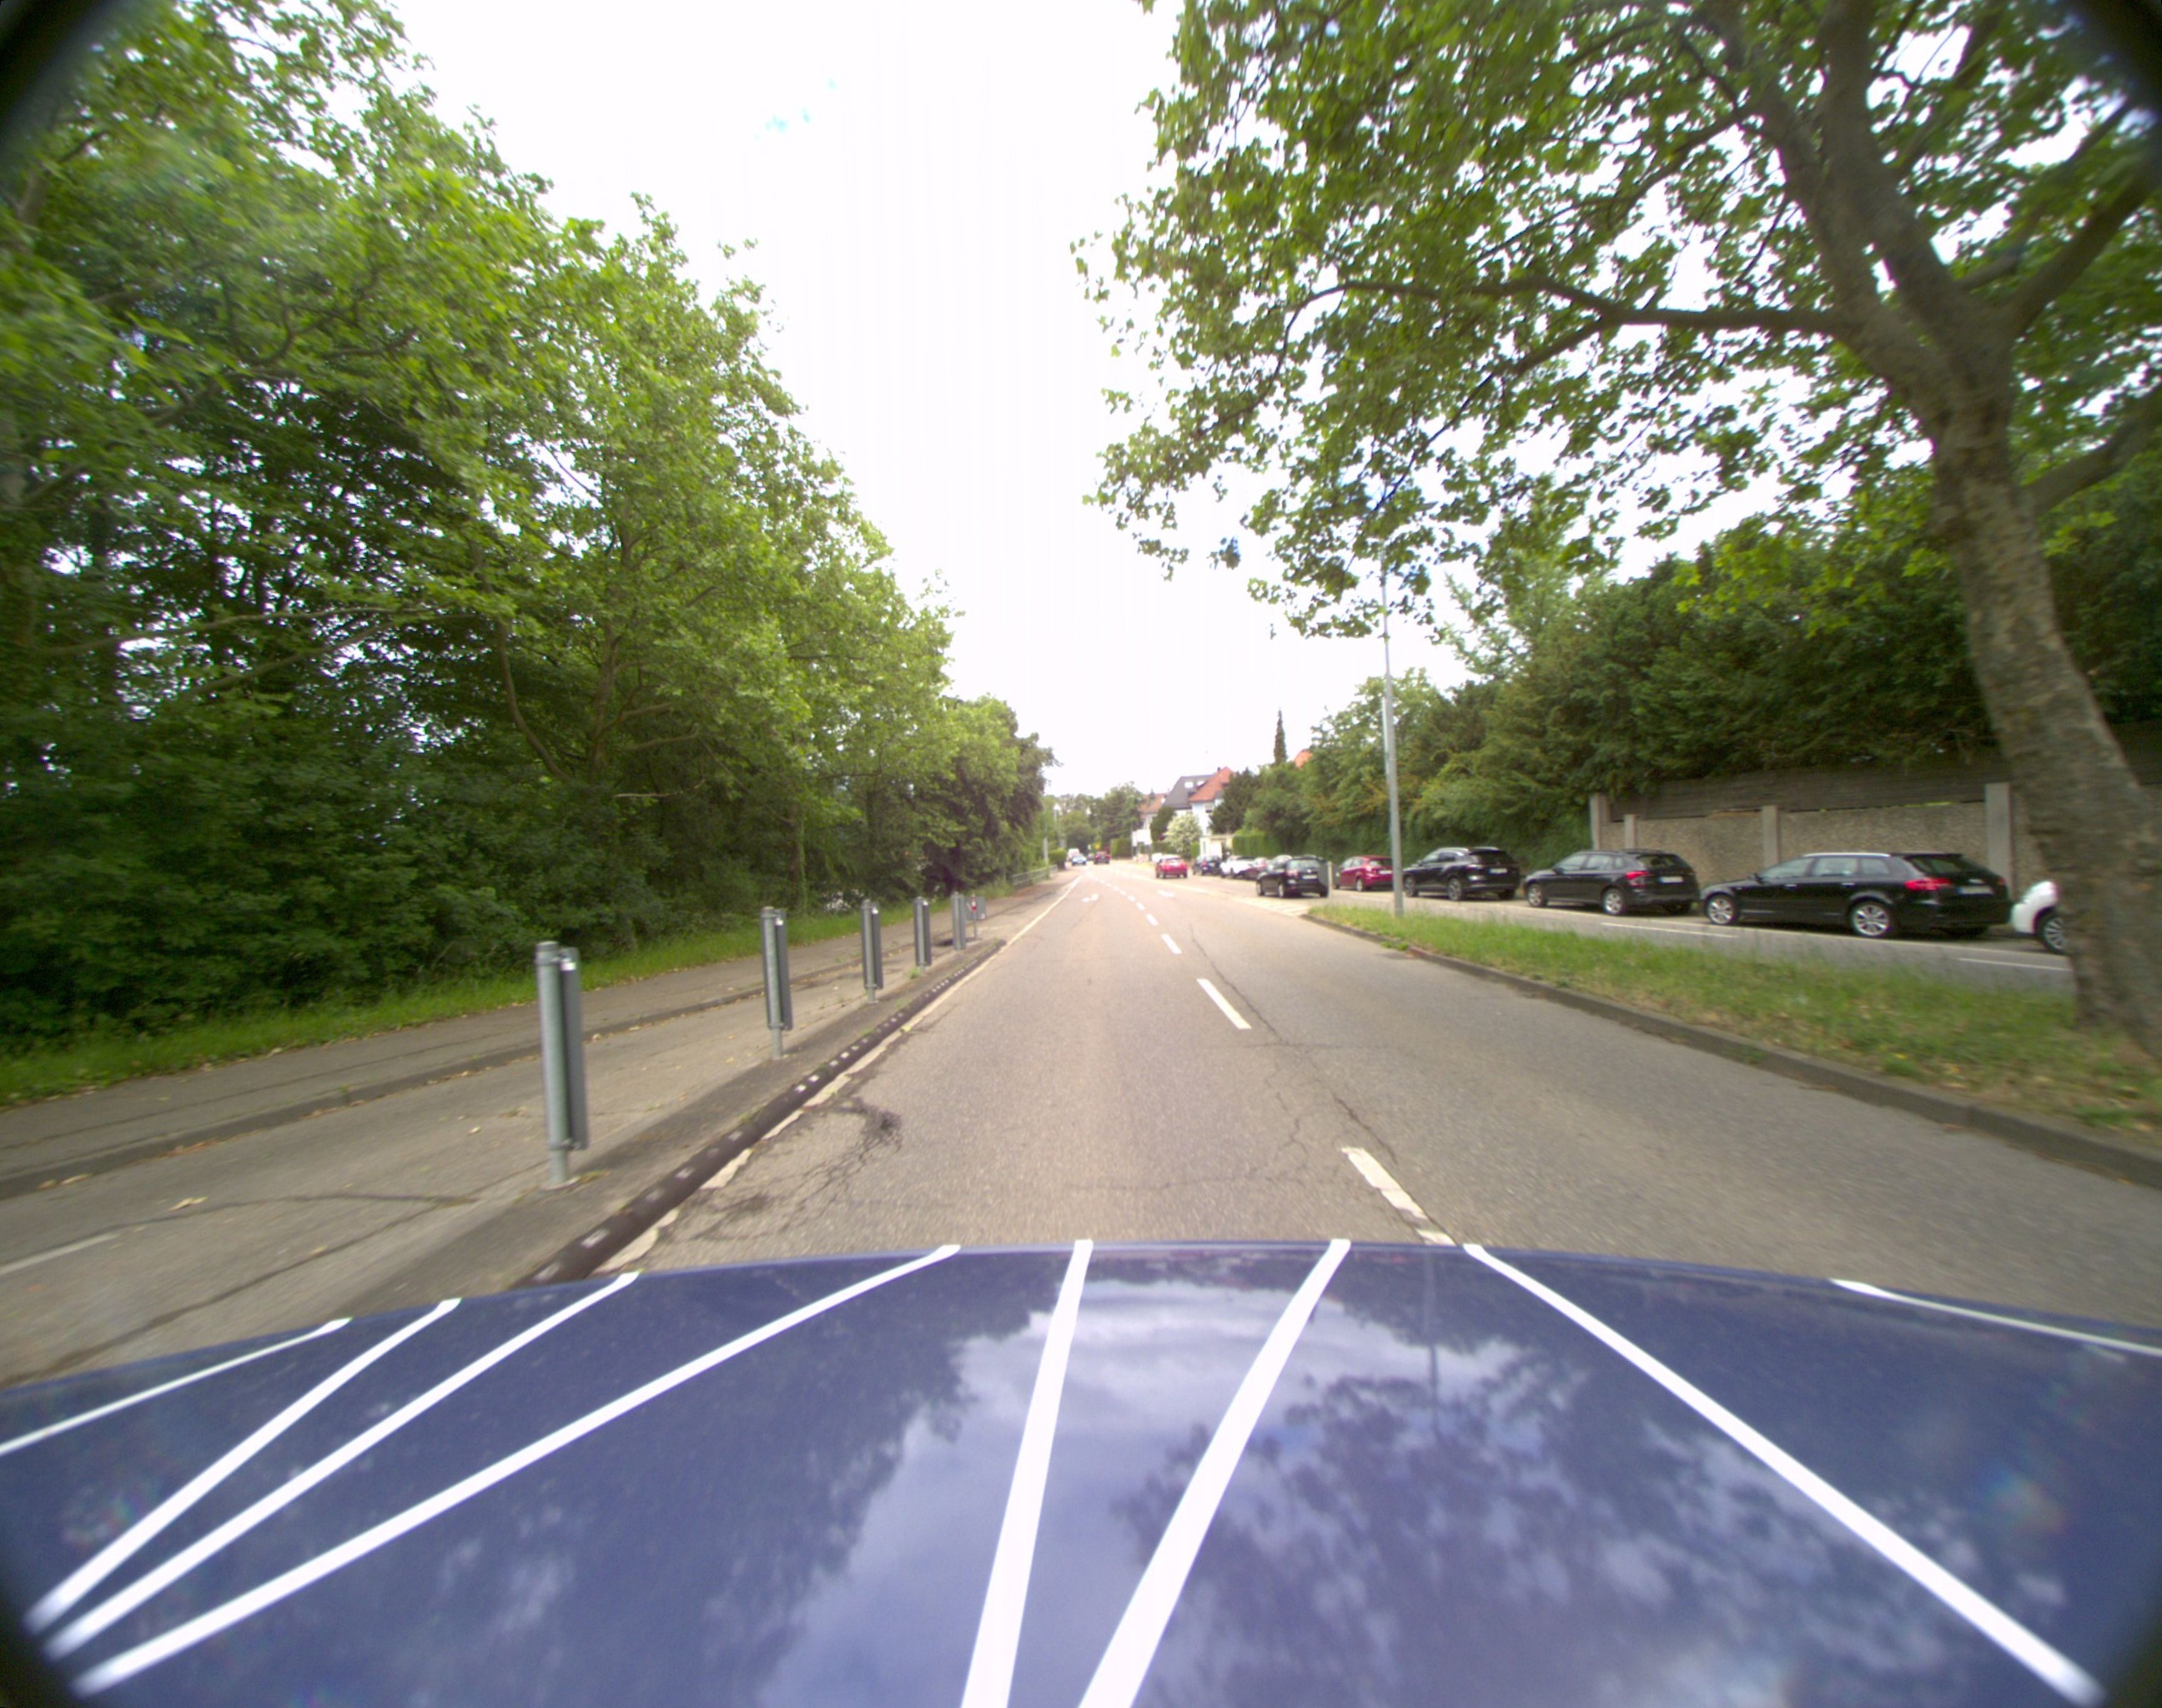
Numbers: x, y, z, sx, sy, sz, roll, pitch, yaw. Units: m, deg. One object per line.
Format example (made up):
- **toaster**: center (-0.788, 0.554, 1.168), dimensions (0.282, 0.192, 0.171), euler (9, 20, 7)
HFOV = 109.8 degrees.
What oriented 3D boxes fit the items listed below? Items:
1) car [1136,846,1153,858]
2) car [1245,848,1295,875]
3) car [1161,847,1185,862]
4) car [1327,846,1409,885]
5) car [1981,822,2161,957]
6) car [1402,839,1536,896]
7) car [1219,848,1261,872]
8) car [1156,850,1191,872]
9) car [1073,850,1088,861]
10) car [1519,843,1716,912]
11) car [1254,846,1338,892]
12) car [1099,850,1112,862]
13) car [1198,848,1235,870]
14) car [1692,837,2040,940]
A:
- **car**: center (7.441, -0.193, 89.368), dimensions (1.686, 1.321, 3.831), euler (-4, 0, 0)
- **car**: center (11.036, 0.434, 44.671), dimensions (1.686, 1.496, 3.830), euler (-1, 0, -5)
- **car**: center (8.842, 0.023, 73.222), dimensions (1.686, 1.321, 3.831), euler (-4, 0, 0)
- **car**: center (11.909, 0.479, 31.771), dimensions (1.686, 1.496, 3.830), euler (-1, 0, -5)
- **car**: center (13.750, 0.401, 8.679), dimensions (1.797, 1.606, 4.216), euler (-1, 0, -5)
- **car**: center (12.318, 0.405, 24.466), dimensions (1.797, 1.594, 4.036), euler (-3, 0, -8)
- **car**: center (10.491, 0.412, 50.235), dimensions (1.686, 1.496, 3.830), euler (-1, 0, -5)
- **car**: center (6.617, 0.506, 54.730), dimensions (1.686, 1.496, 3.830), euler (-1, 0, -5)
- **car**: center (-0.072, 0.235, 106.389), dimensions (1.796, 1.420, 4.146), euler (-1, 0, -4)
- **car**: center (13.016, 0.533, 18.783), dimensions (1.797, 1.496, 4.037), euler (-1, 0, -5)
- **car**: center (8.071, 0.545, 28.883), dimensions (1.844, 1.606, 3.912), euler (-1, 0, -4)
- **car**: center (3.368, 0.217, 103.814), dimensions (1.671, 1.536, 4.000), euler (-3, 0, 2)
- **car**: center (9.863, 0.386, 55.570), dimensions (1.686, 1.496, 3.830), euler (-1, 0, -5)
- **car**: center (13.400, 0.526, 13.400), dimensions (1.797, 1.496, 4.037), euler (-1, 0, -5)
